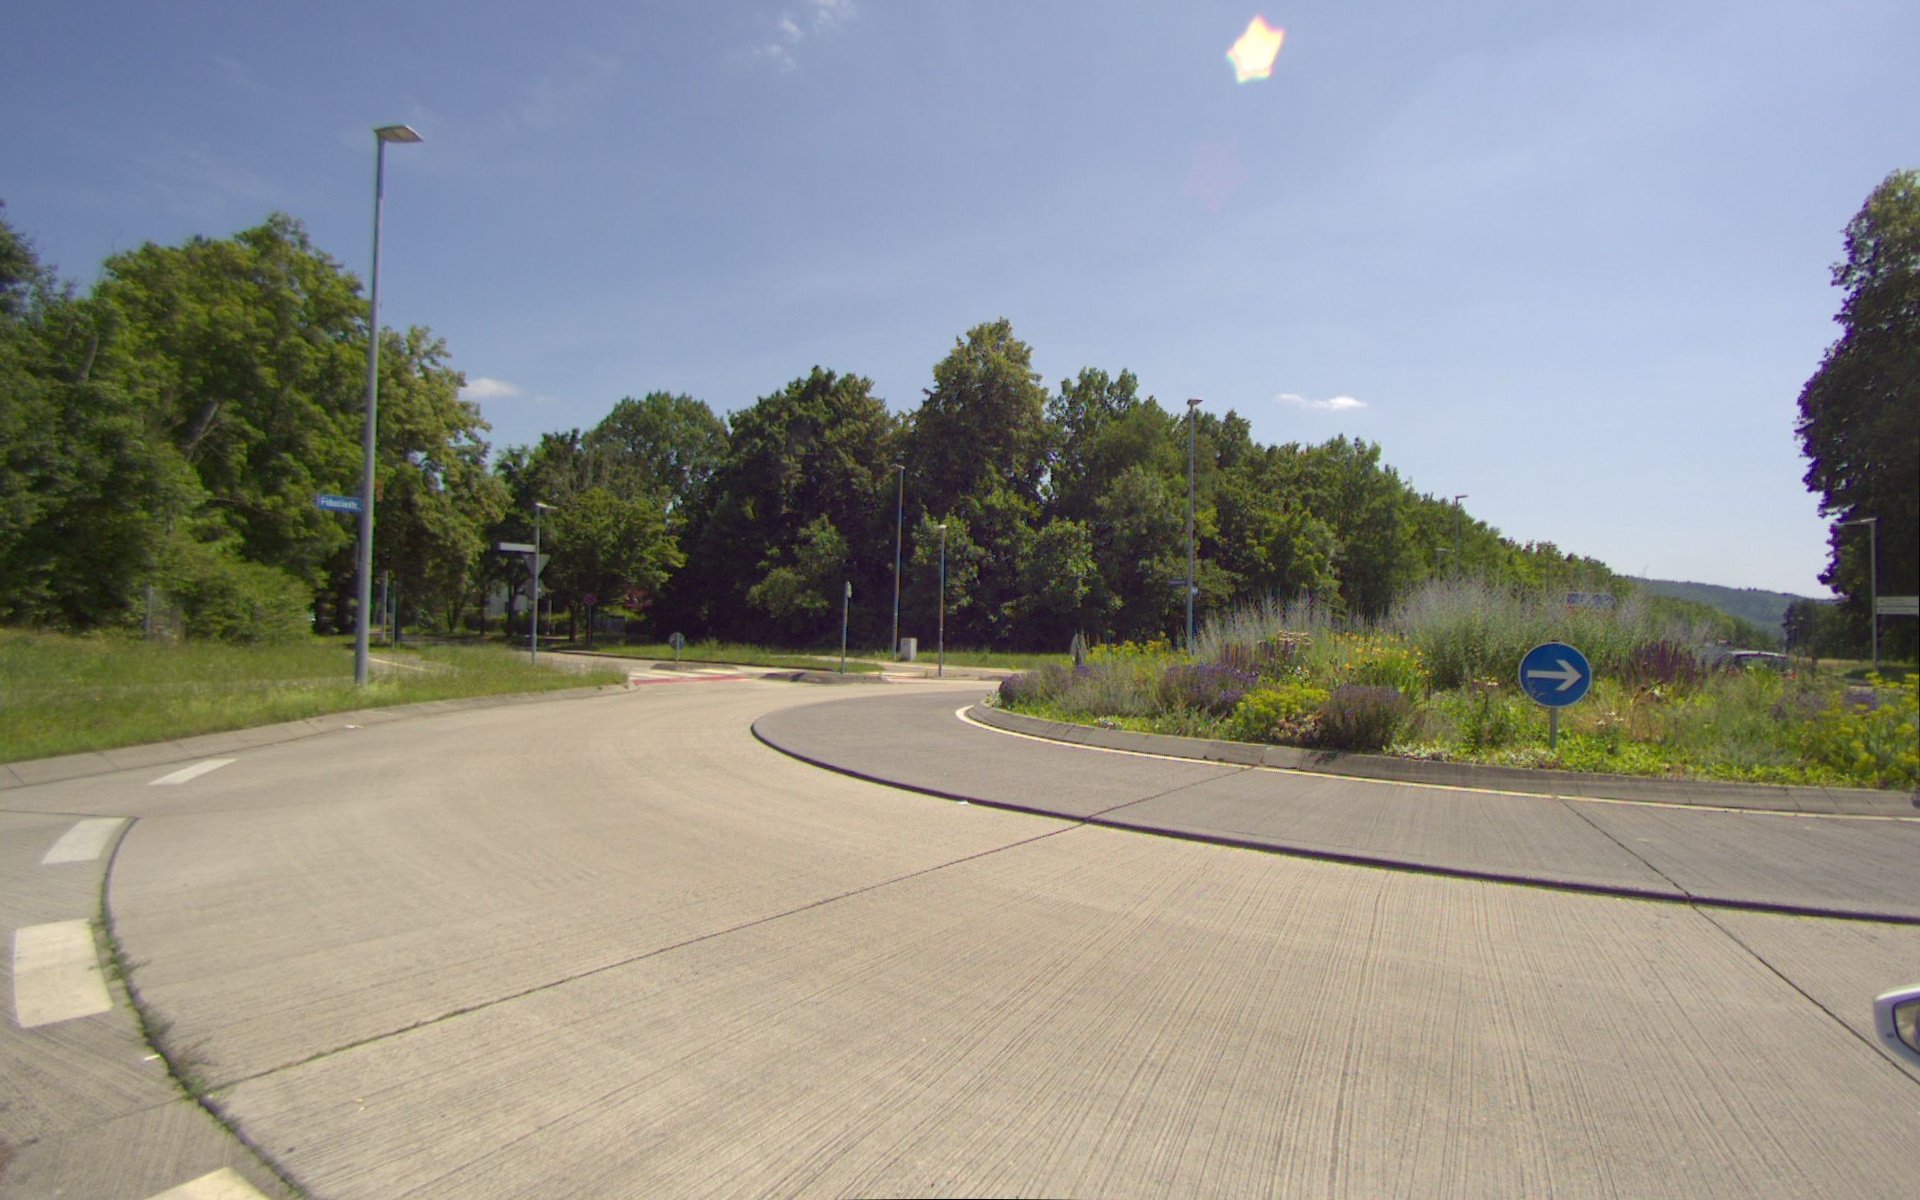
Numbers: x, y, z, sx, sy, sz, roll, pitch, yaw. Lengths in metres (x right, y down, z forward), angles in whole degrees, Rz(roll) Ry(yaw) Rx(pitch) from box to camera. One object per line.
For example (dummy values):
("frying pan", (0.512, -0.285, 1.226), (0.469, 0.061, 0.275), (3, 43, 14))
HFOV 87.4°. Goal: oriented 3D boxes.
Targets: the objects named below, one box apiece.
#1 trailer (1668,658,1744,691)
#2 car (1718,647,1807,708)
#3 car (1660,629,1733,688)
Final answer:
("trailer", (30.199, 2.987, 40.754), (2.091, 1.112, 3.348), (2, -1, 31))
("car", (24.173, 2.297, 30.378), (1.761, 1.628, 4.115), (2, -2, 35))
("car", (32.384, 2.567, 44.302), (2.135, 2.347, 4.970), (2, -1, 32))
